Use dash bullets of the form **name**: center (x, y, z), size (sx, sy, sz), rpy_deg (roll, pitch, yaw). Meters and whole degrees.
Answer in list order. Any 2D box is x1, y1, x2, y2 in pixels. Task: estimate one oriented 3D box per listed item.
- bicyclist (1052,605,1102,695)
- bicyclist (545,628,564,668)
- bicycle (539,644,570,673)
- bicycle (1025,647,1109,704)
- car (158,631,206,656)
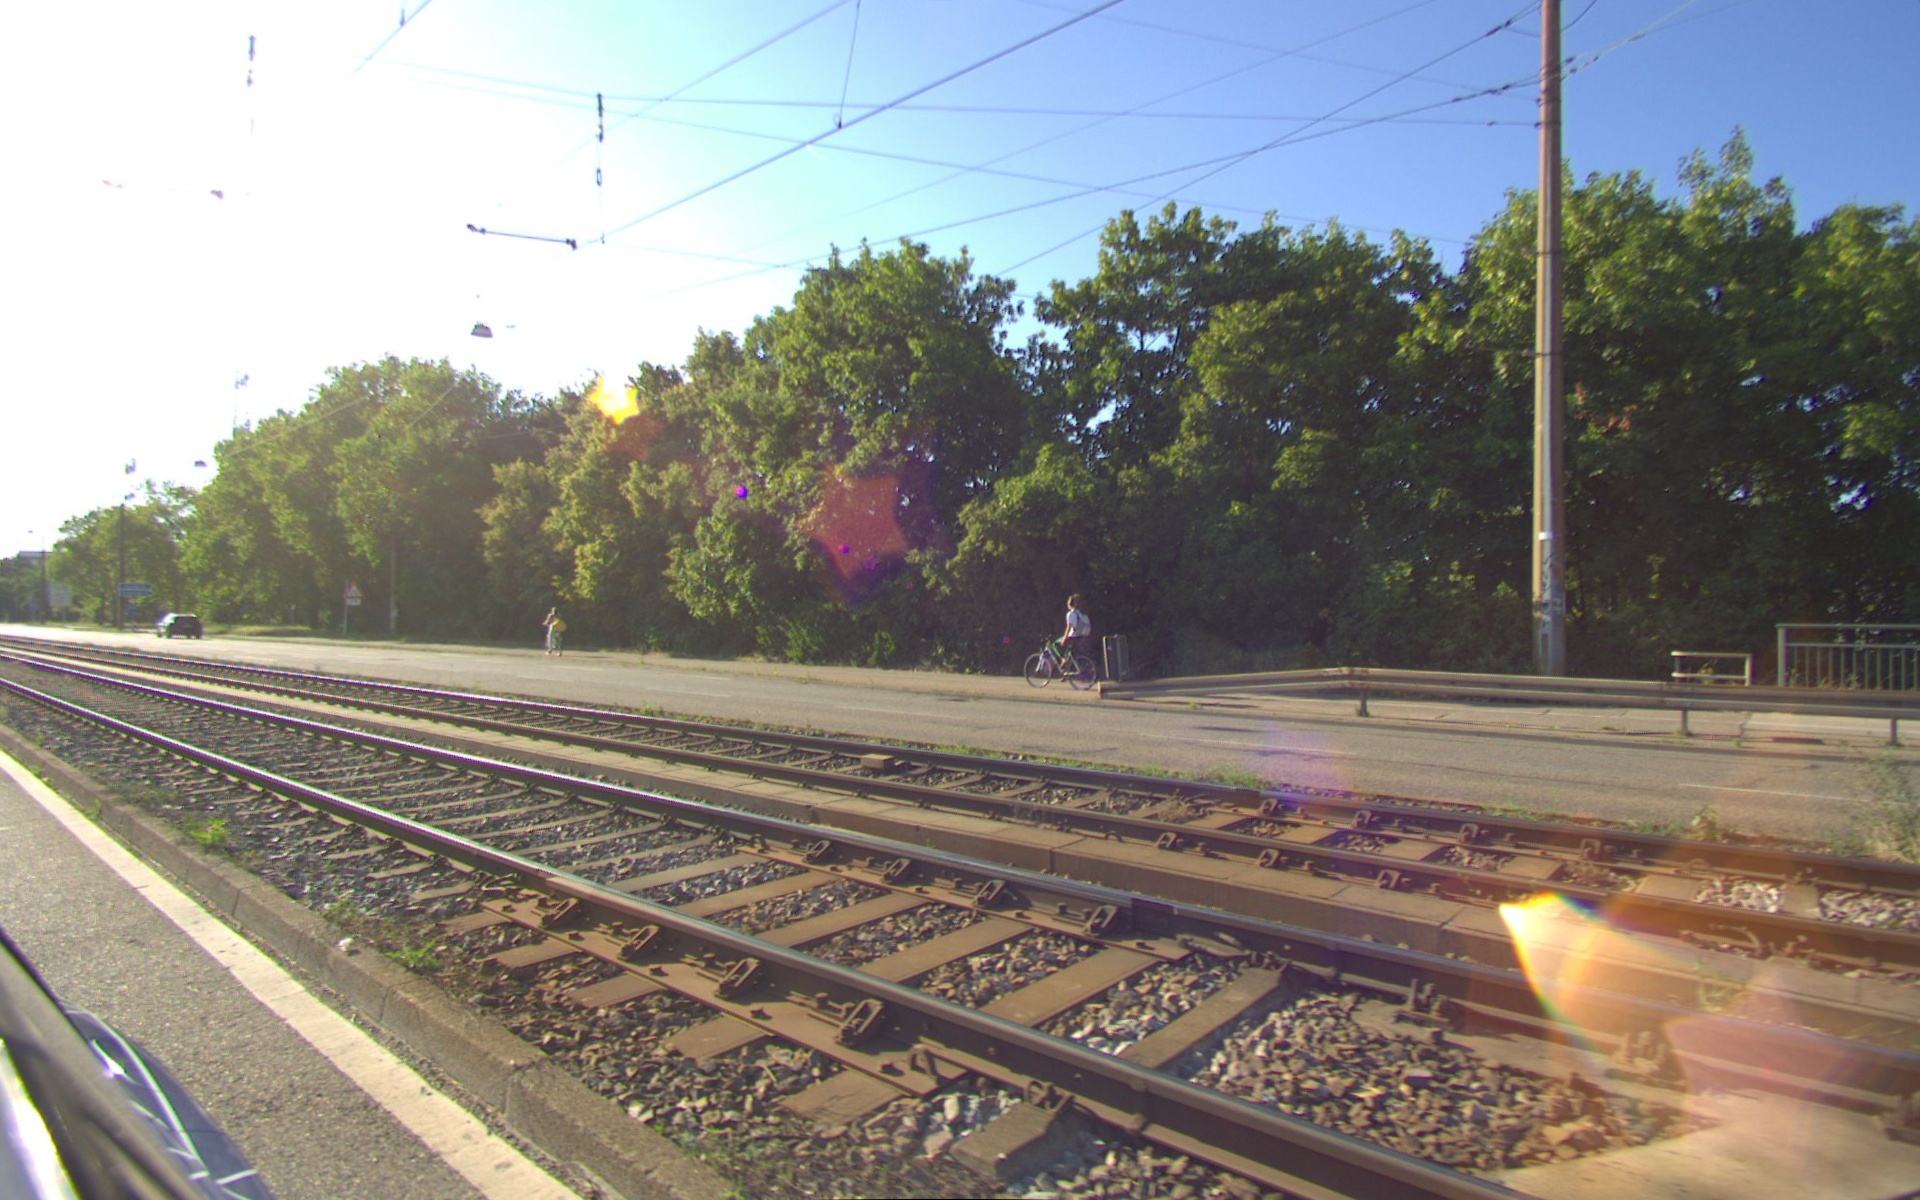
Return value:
- **bicyclist**: center (2.344, 0.989, 20.279), size (0.833, 1.764, 0.492), rpy_deg (-1, 0, 41)
- **bicyclist**: center (-14.816, 1.752, 36.989), size (0.417, 1.439, 0.755), rpy_deg (-1, 0, -42)
- **bicycle**: center (-14.851, 2.117, 37.036), size (0.420, 0.971, 1.915), rpy_deg (-1, 0, -42)
- **bicycle**: center (2.143, 1.501, 20.467), size (1.727, 1.060, 0.498), rpy_deg (-1, 0, 42)
- **car**: center (-52.518, 2.929, 68.290), size (3.956, 1.533, 1.952), rpy_deg (-1, 0, 42)
